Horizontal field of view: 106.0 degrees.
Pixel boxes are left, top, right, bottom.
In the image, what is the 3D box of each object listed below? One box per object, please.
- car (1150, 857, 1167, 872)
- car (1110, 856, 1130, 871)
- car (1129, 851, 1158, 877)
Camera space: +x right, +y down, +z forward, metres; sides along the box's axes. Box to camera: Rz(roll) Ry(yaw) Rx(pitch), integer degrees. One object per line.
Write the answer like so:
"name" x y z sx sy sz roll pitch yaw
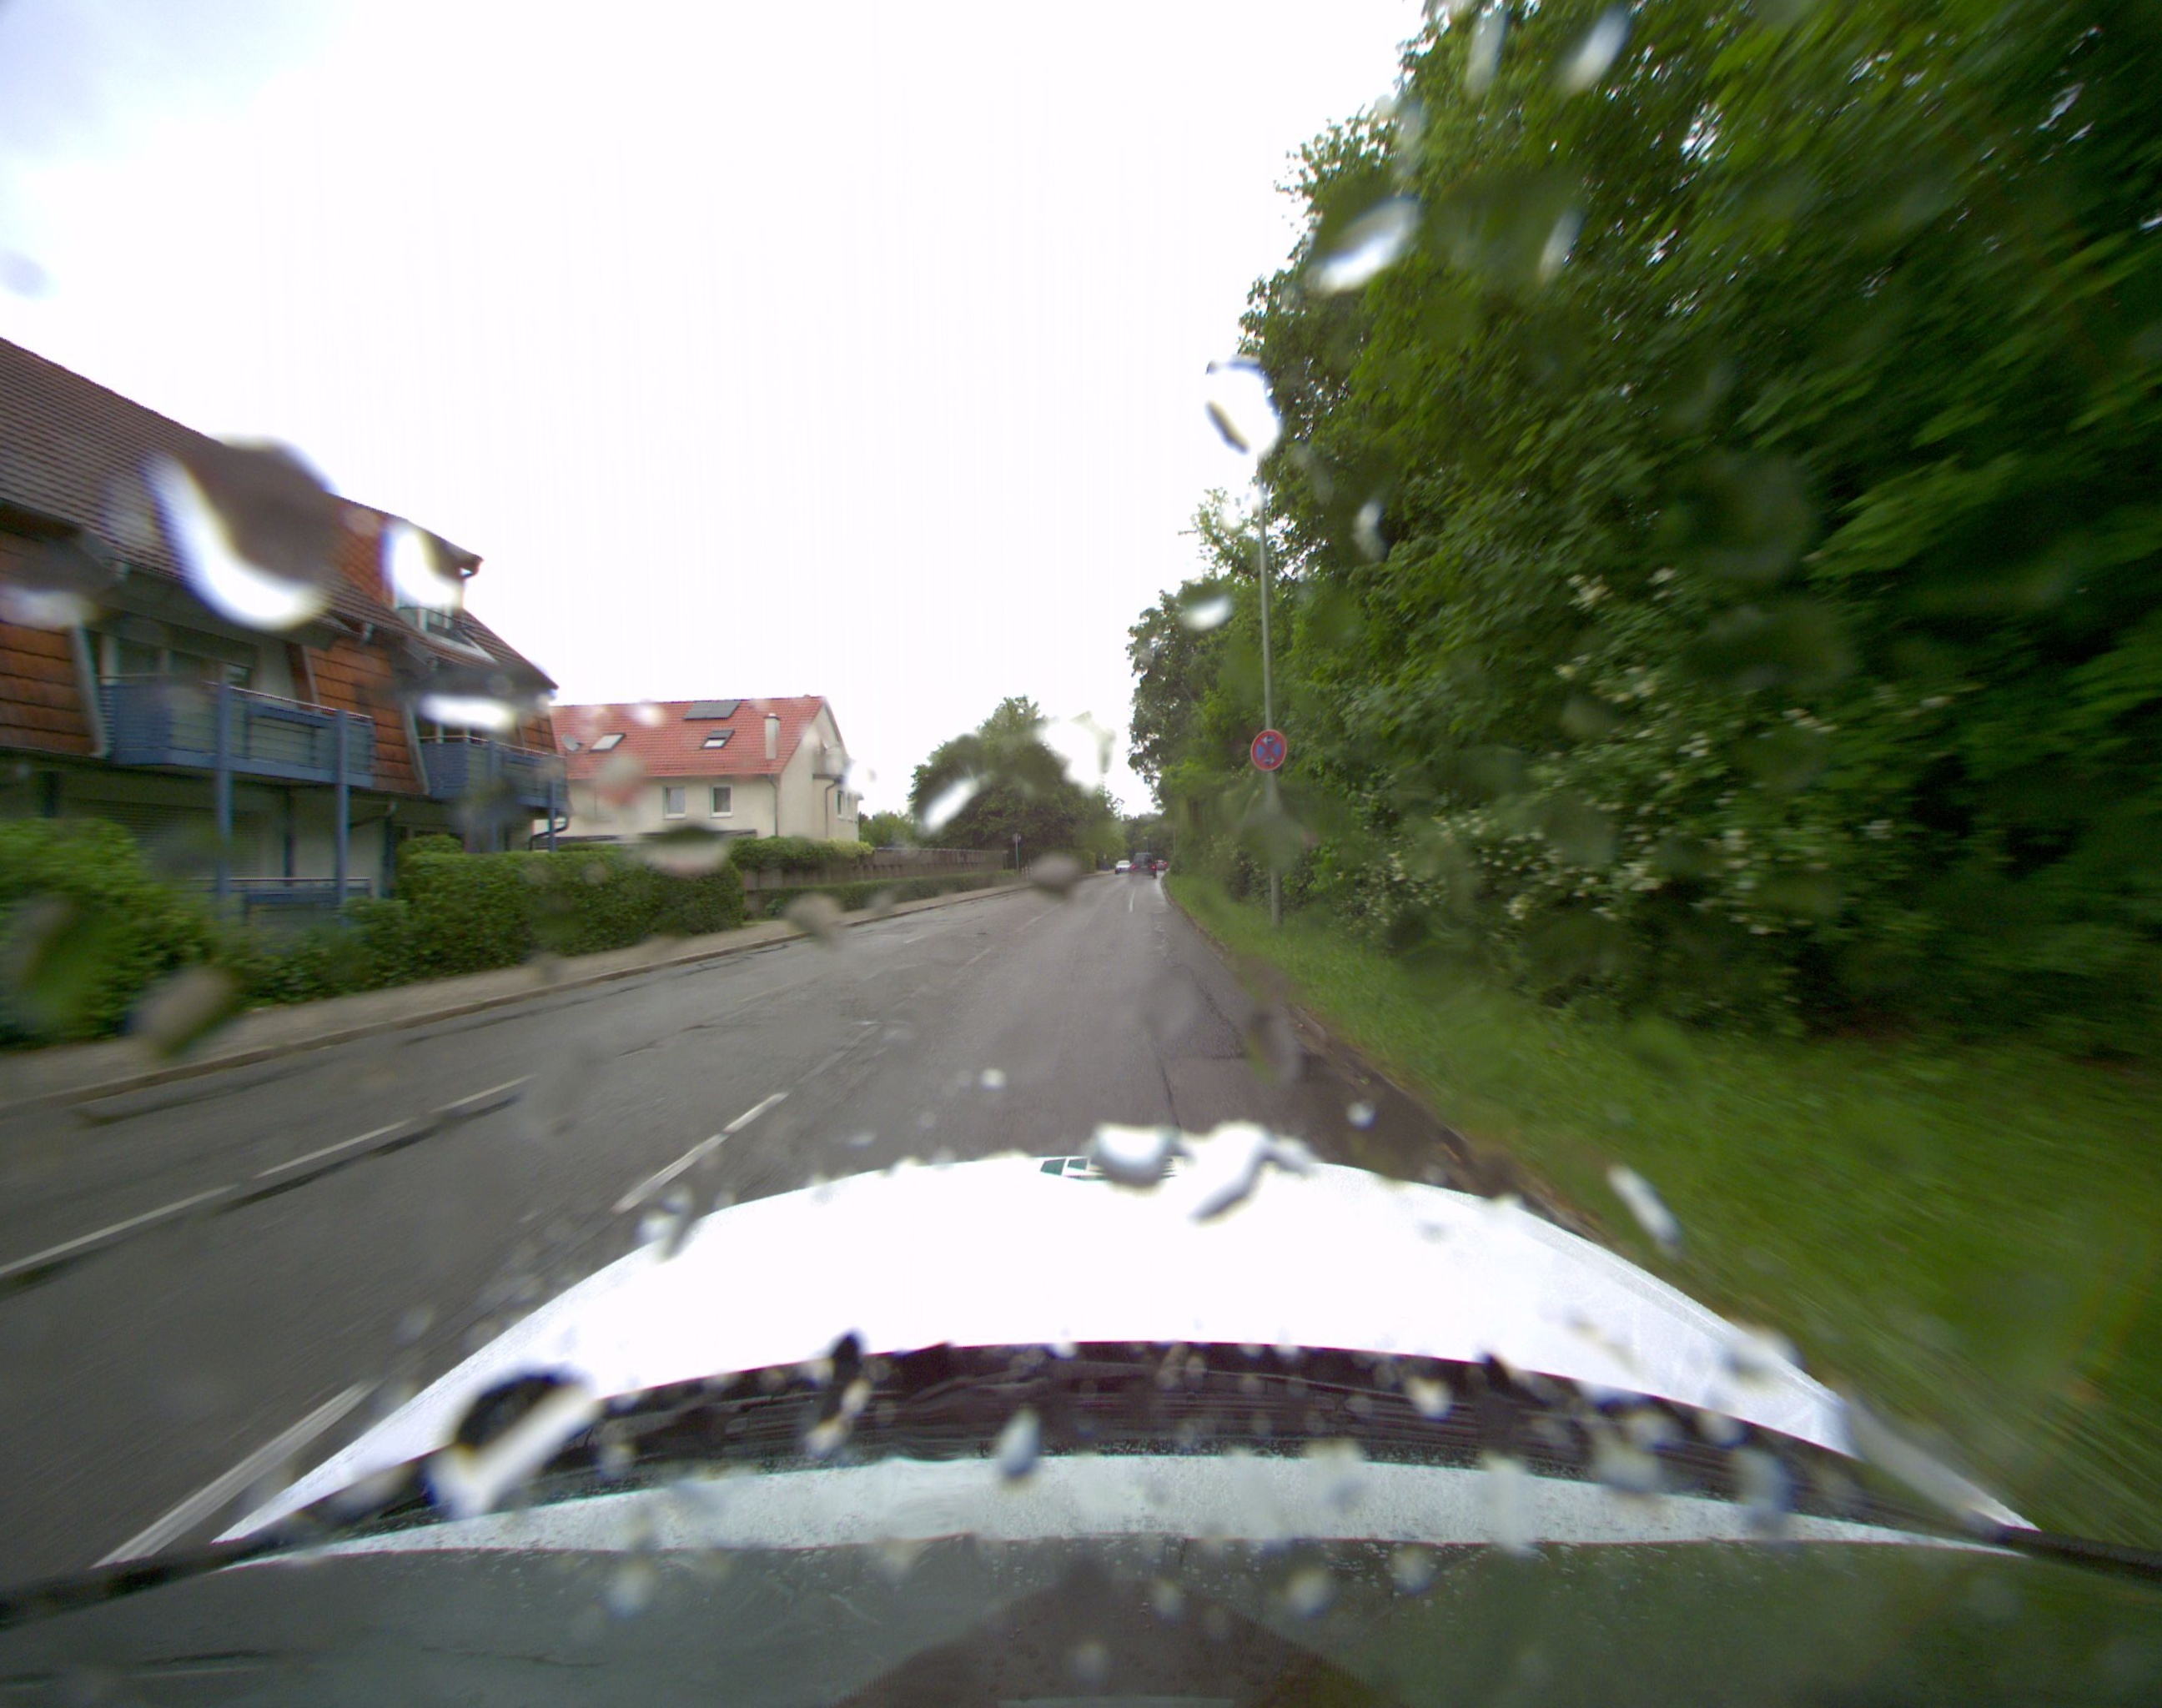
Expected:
"car" 10.386 1.368 108.369 1.938 1.750 4.010 -2 0 9
"car" 4.302 1.031 90.153 1.984 1.420 4.492 -3 0 5
"car" 4.664 0.745 60.512 1.984 1.793 4.007 1 1 6
